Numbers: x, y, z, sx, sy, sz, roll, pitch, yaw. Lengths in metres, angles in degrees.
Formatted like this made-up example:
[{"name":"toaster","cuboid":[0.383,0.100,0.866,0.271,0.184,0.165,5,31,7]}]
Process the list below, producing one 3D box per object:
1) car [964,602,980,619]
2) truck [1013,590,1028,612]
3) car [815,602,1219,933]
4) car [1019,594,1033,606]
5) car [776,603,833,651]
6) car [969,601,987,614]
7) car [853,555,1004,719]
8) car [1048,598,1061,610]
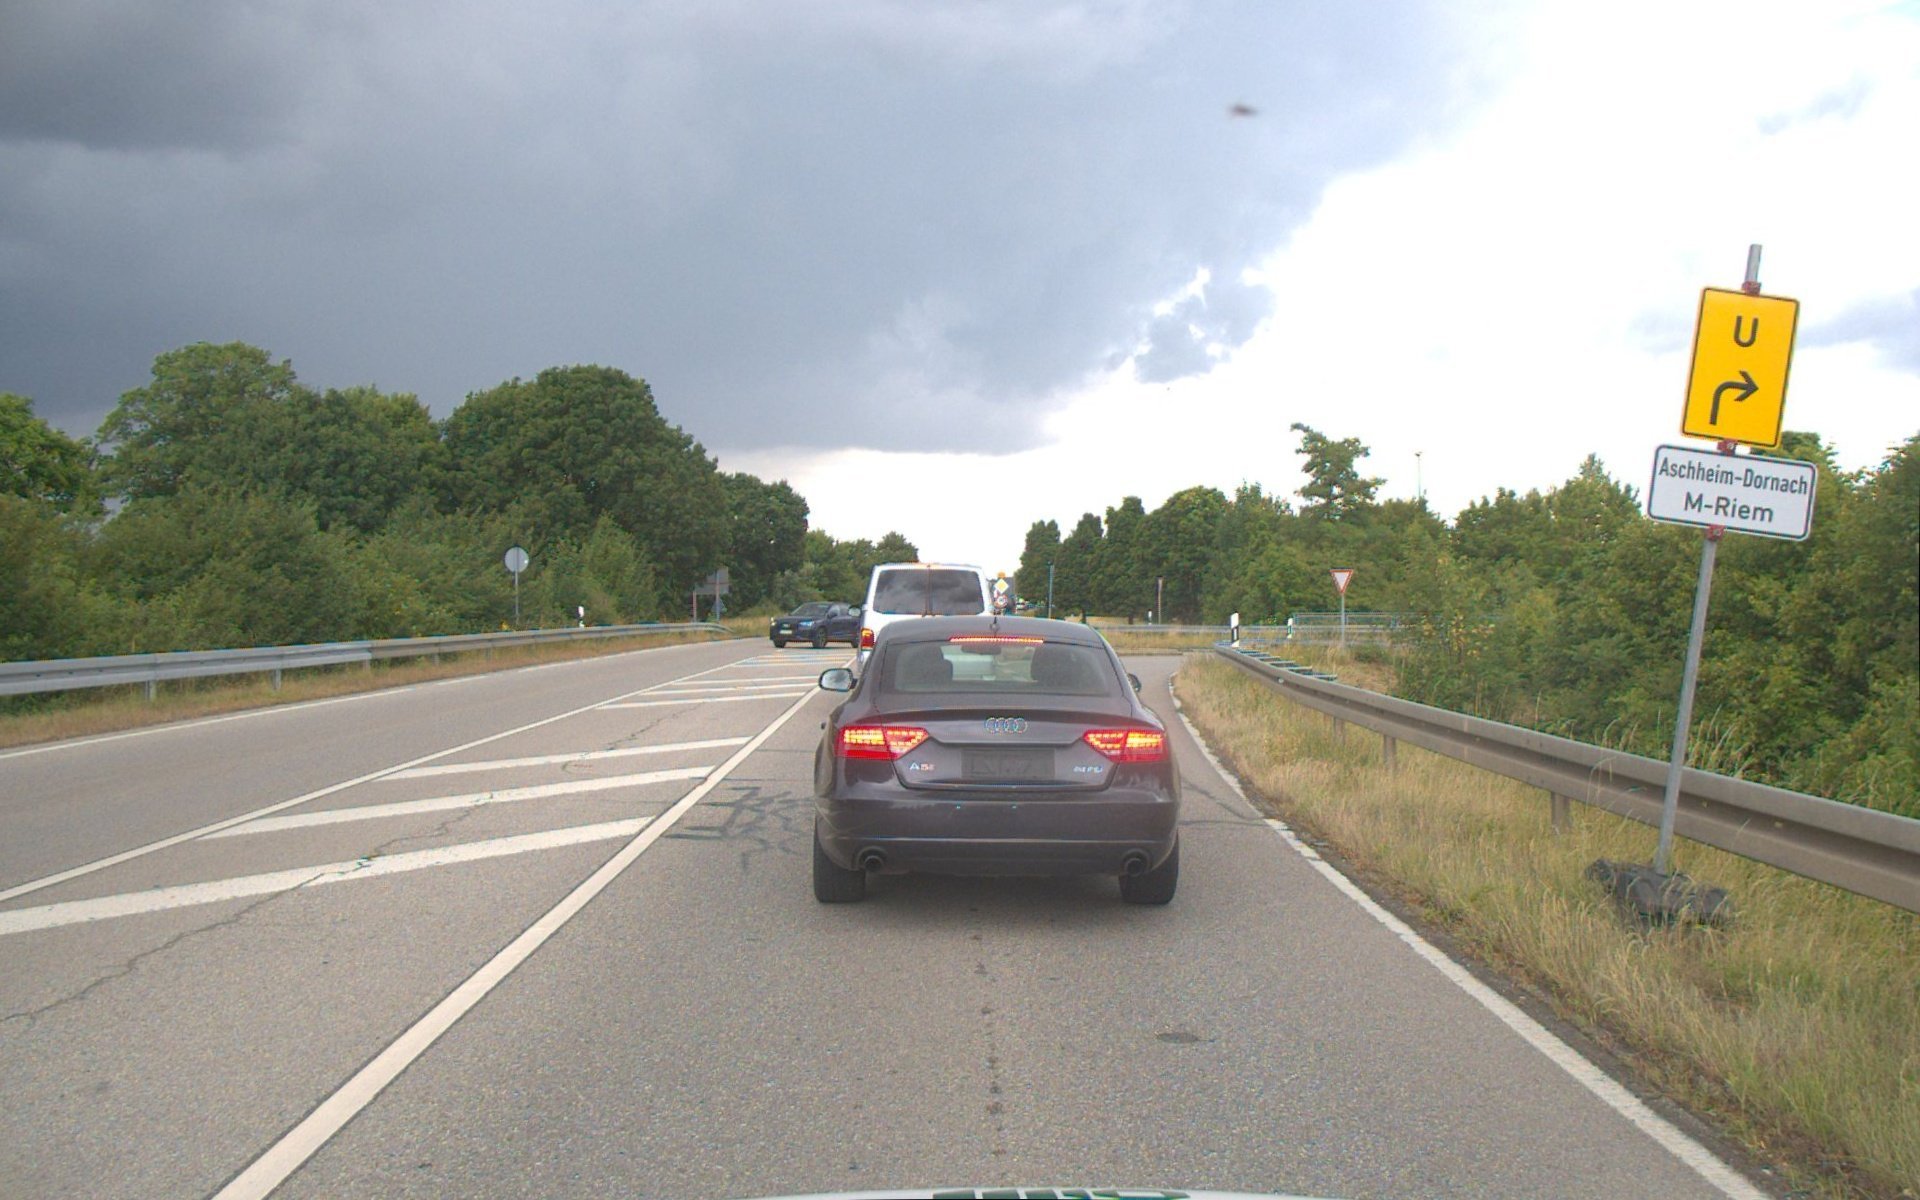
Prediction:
[{"name":"car","cuboid":[1.446,1.240,203.164,1.952,2.049,4.000,1,0,0]},{"name":"truck","cuboid":[8.399,0.151,229.623,1.952,2.969,5.794,1,0,1]},{"name":"car","cuboid":[0.189,0.727,8.831,1.744,1.423,3.335,0,0,-2]},{"name":"car","cuboid":[9.925,0.036,247.847,1.952,1.722,4.000,1,0,1]},{"name":"car","cuboid":[-5.389,0.904,57.827,1.675,1.545,4.208,1,0,-2]},{"name":"car","cuboid":[2.363,1.032,220.635,2.161,1.610,4.377,1,0,-2]},{"name":"car","cuboid":[-0.463,0.461,22.920,1.872,2.049,3.999,1,0,-2]},{"name":"car","cuboid":[13.758,0.582,241.158,1.836,1.722,4.002,1,0,4]}]
